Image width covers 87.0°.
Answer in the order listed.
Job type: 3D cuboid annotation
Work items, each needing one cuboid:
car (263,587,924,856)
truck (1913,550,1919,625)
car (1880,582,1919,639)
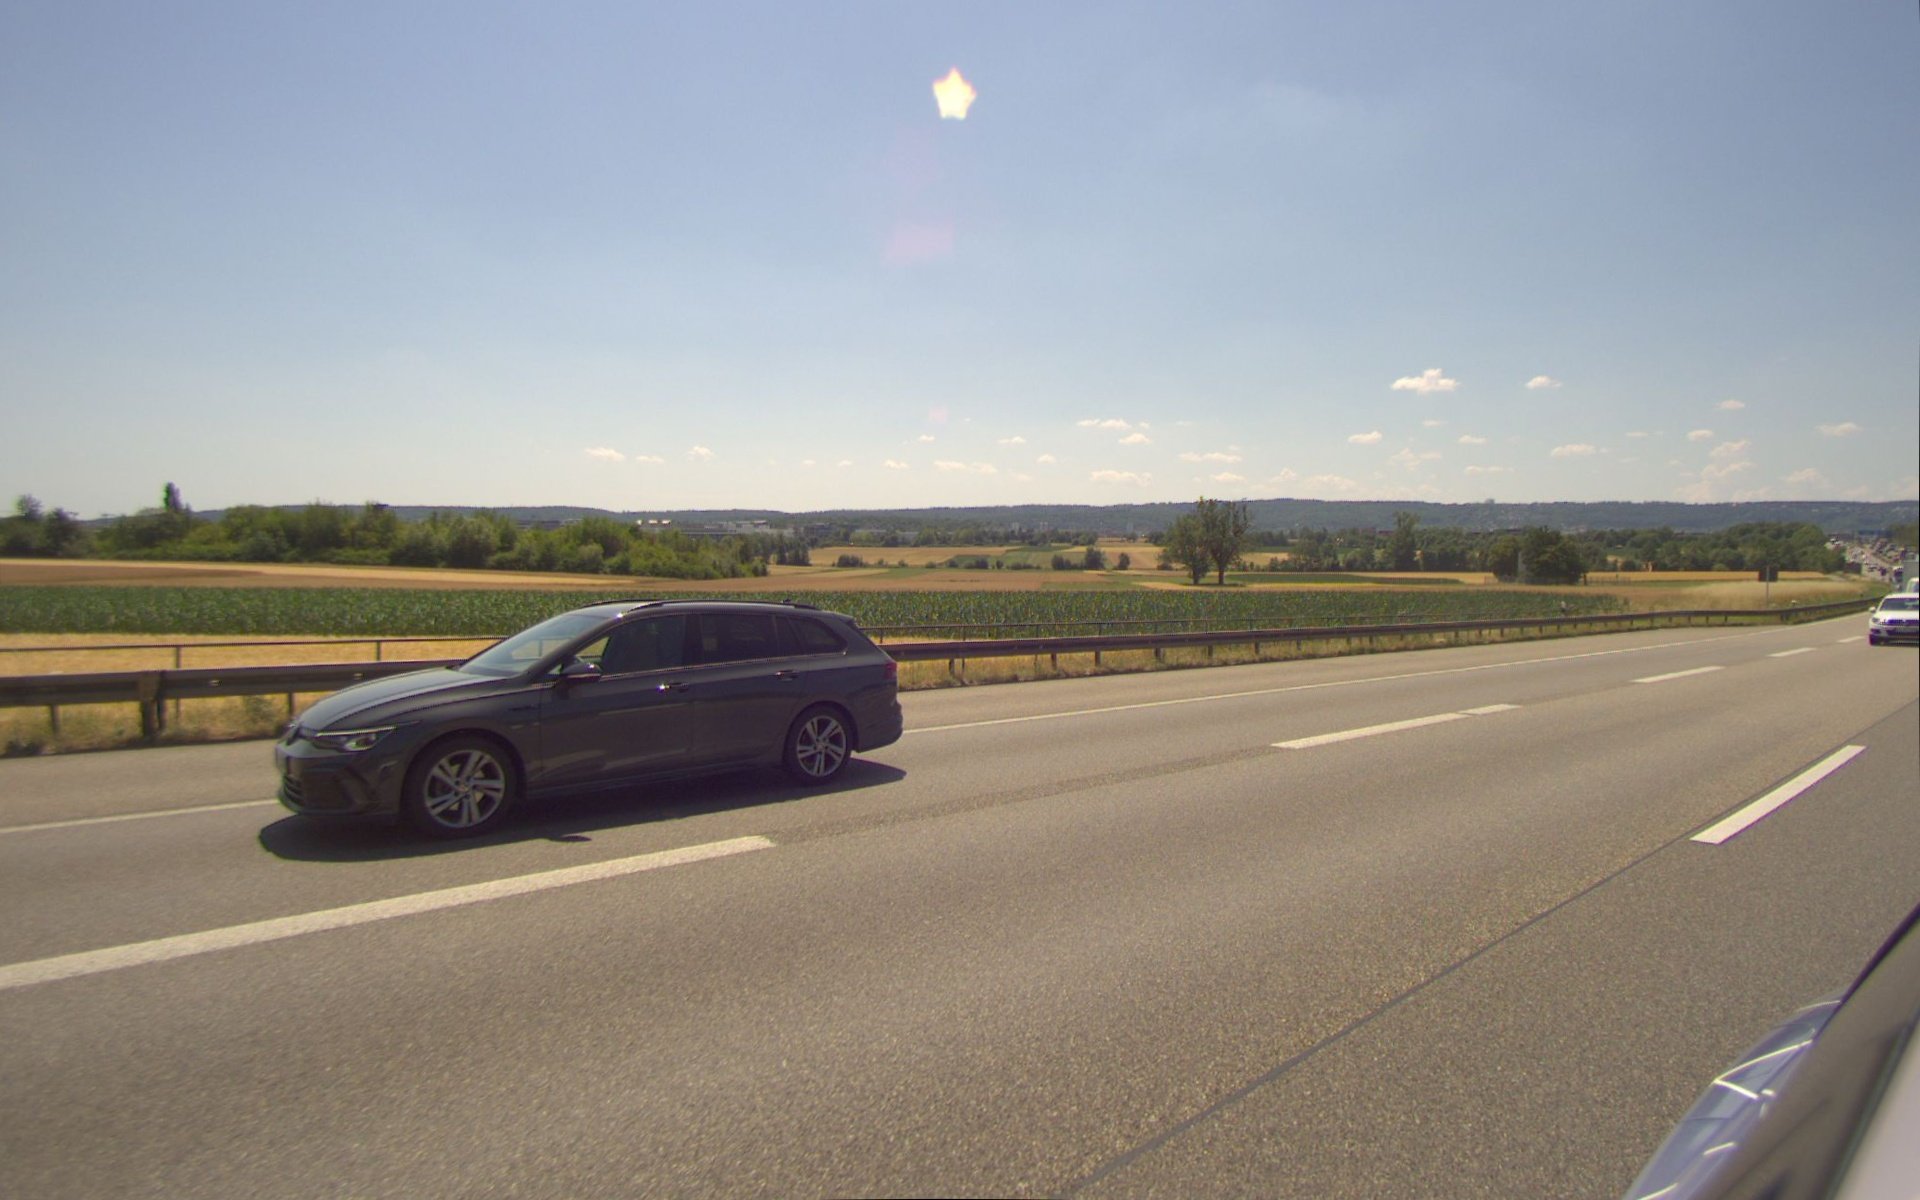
[{"bbox_3d":[-2.542,0.658,7.757,4.458,1.489,1.764,0,0,-42],"label":"car"},{"bbox_3d":[42.509,-0.601,43.294,2.439,3.066,6.808,0,1,44],"label":"truck"},{"bbox_3d":[30.127,0.289,31.579,4.104,1.666,1.833,-2,1,-44],"label":"car"}]
